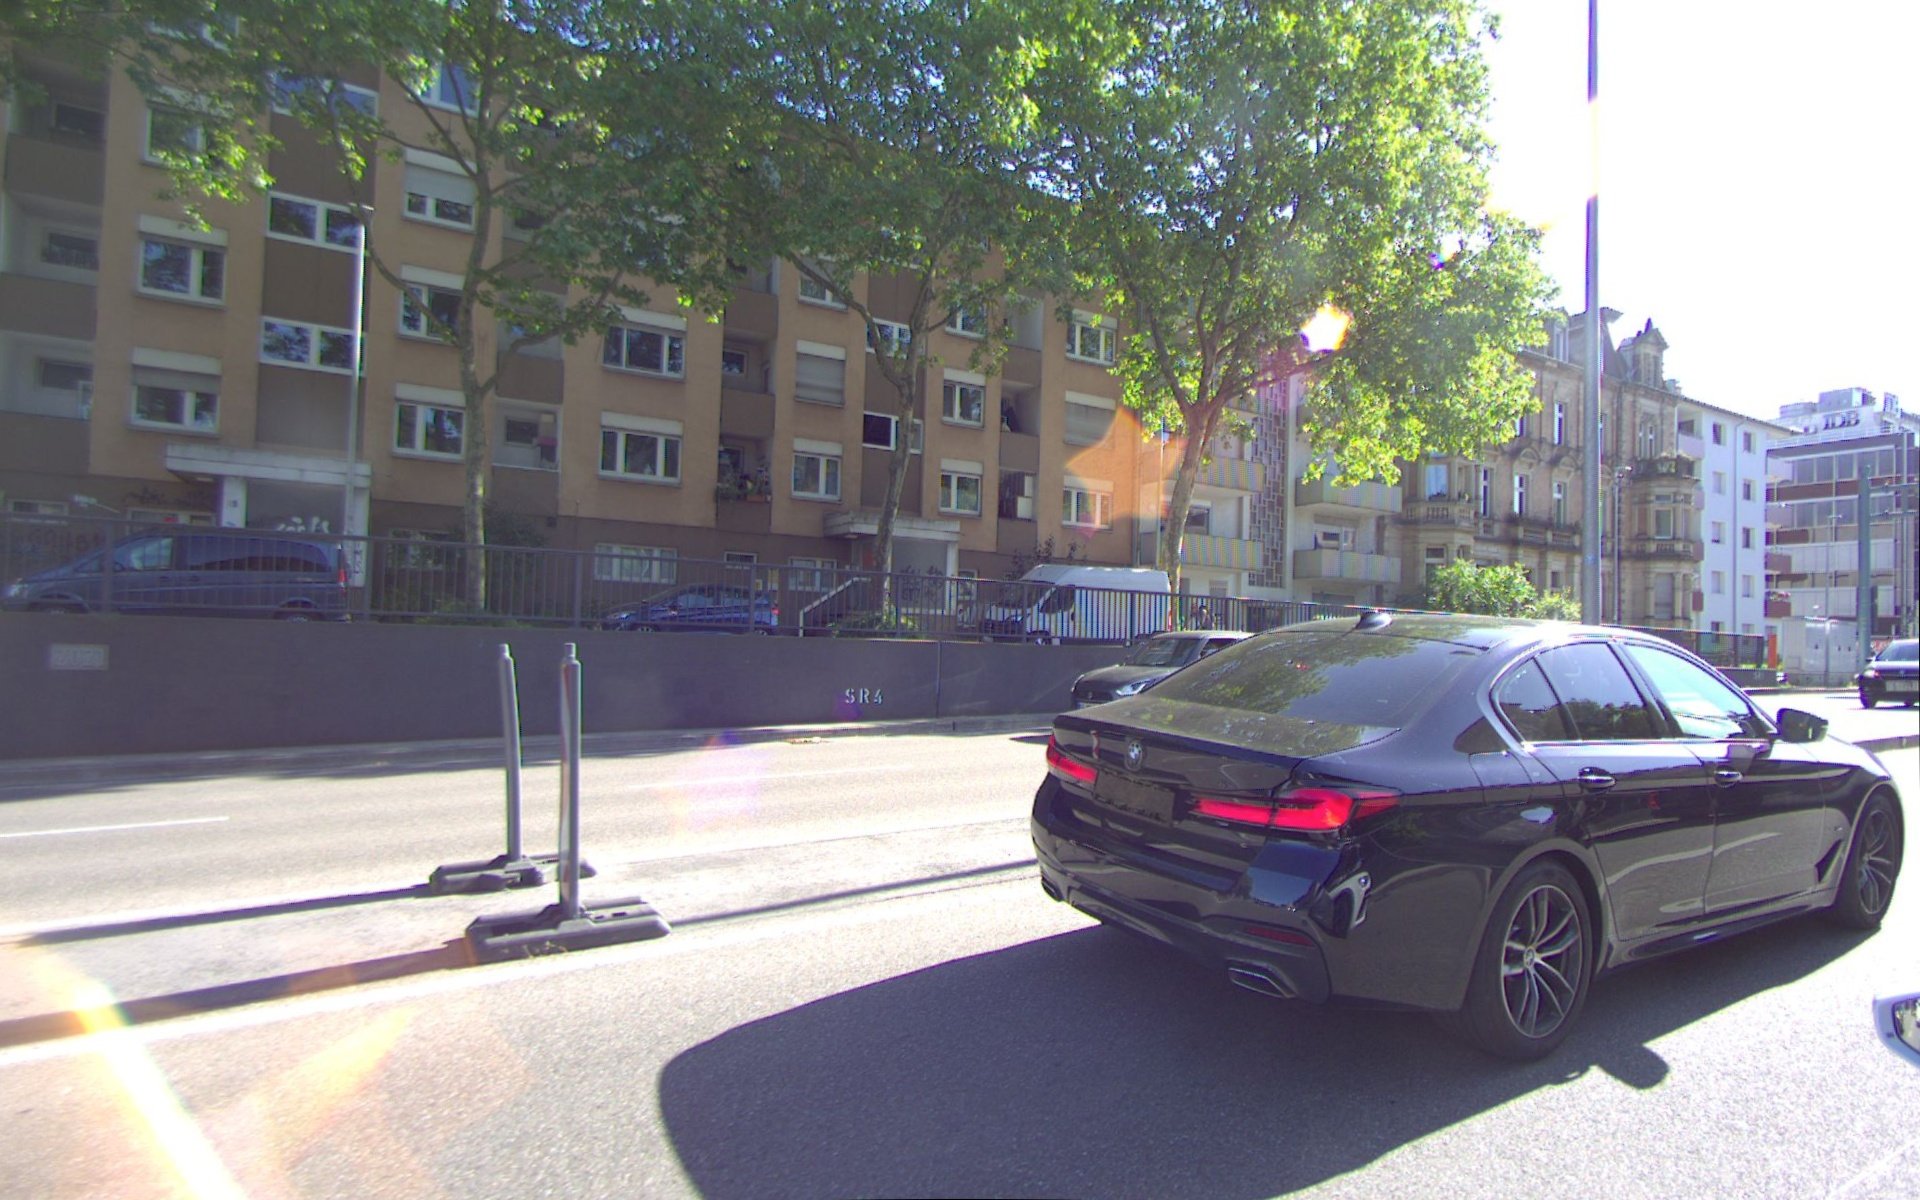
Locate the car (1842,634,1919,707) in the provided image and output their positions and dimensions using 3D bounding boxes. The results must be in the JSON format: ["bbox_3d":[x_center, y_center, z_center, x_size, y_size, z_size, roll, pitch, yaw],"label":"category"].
[{"bbox_3d":[20.882,1.525,21.792,3.568,1.476,1.601,2,-5,-32],"label":"car"}]

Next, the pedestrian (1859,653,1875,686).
[{"bbox_3d":[55.025,4.226,60.933,0.718,1.921,0.652,2,0,-43],"label":"pedestrian"}]

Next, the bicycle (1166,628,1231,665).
[{"bbox_3d":[6.278,1.225,26.398,1.740,0.939,0.652,2,0,-34],"label":"bicycle"}]

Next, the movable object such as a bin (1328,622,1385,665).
[{"bbox_3d":[13.760,1.517,34.898,1.309,1.421,1.273,2,0,-30],"label":"movable object such as a bin"}]

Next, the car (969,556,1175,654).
[{"bbox_3d":[3.066,0.189,27.032,5.355,2.391,1.984,2,0,-30],"label":"car"}]

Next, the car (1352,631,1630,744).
[{"bbox_3d":[7.175,1.141,13.493,3.884,1.316,1.531,2,-4,-32],"label":"car"}]

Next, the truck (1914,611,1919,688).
[{"bbox_3d":[34.986,1.739,34.046,6.057,2.560,2.219,3,-3,-30],"label":"truck"}]

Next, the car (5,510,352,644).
[{"bbox_3d":[-13.186,-0.314,17.380,4.479,1.986,1.954,2,0,-33],"label":"car"}]

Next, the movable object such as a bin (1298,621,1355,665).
[{"bbox_3d":[12.531,1.467,34.323,1.286,1.421,1.273,2,0,-30],"label":"movable object such as a bin"}]

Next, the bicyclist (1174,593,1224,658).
[{"bbox_3d":[6.280,0.671,26.388,1.012,1.655,0.770,2,0,-34],"label":"bicyclist"}]

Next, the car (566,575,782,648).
[{"bbox_3d":[-6.176,0.269,21.770,4.124,1.407,1.983,2,0,-31],"label":"car"}]

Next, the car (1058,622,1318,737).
[{"bbox_3d":[3.360,1.109,14.651,3.675,1.484,1.531,1,-4,-32],"label":"car"}]

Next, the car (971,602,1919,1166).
[{"bbox_3d":[2.621,0.792,4.713,4.946,1.458,1.799,1,0,-32],"label":"car"}]
